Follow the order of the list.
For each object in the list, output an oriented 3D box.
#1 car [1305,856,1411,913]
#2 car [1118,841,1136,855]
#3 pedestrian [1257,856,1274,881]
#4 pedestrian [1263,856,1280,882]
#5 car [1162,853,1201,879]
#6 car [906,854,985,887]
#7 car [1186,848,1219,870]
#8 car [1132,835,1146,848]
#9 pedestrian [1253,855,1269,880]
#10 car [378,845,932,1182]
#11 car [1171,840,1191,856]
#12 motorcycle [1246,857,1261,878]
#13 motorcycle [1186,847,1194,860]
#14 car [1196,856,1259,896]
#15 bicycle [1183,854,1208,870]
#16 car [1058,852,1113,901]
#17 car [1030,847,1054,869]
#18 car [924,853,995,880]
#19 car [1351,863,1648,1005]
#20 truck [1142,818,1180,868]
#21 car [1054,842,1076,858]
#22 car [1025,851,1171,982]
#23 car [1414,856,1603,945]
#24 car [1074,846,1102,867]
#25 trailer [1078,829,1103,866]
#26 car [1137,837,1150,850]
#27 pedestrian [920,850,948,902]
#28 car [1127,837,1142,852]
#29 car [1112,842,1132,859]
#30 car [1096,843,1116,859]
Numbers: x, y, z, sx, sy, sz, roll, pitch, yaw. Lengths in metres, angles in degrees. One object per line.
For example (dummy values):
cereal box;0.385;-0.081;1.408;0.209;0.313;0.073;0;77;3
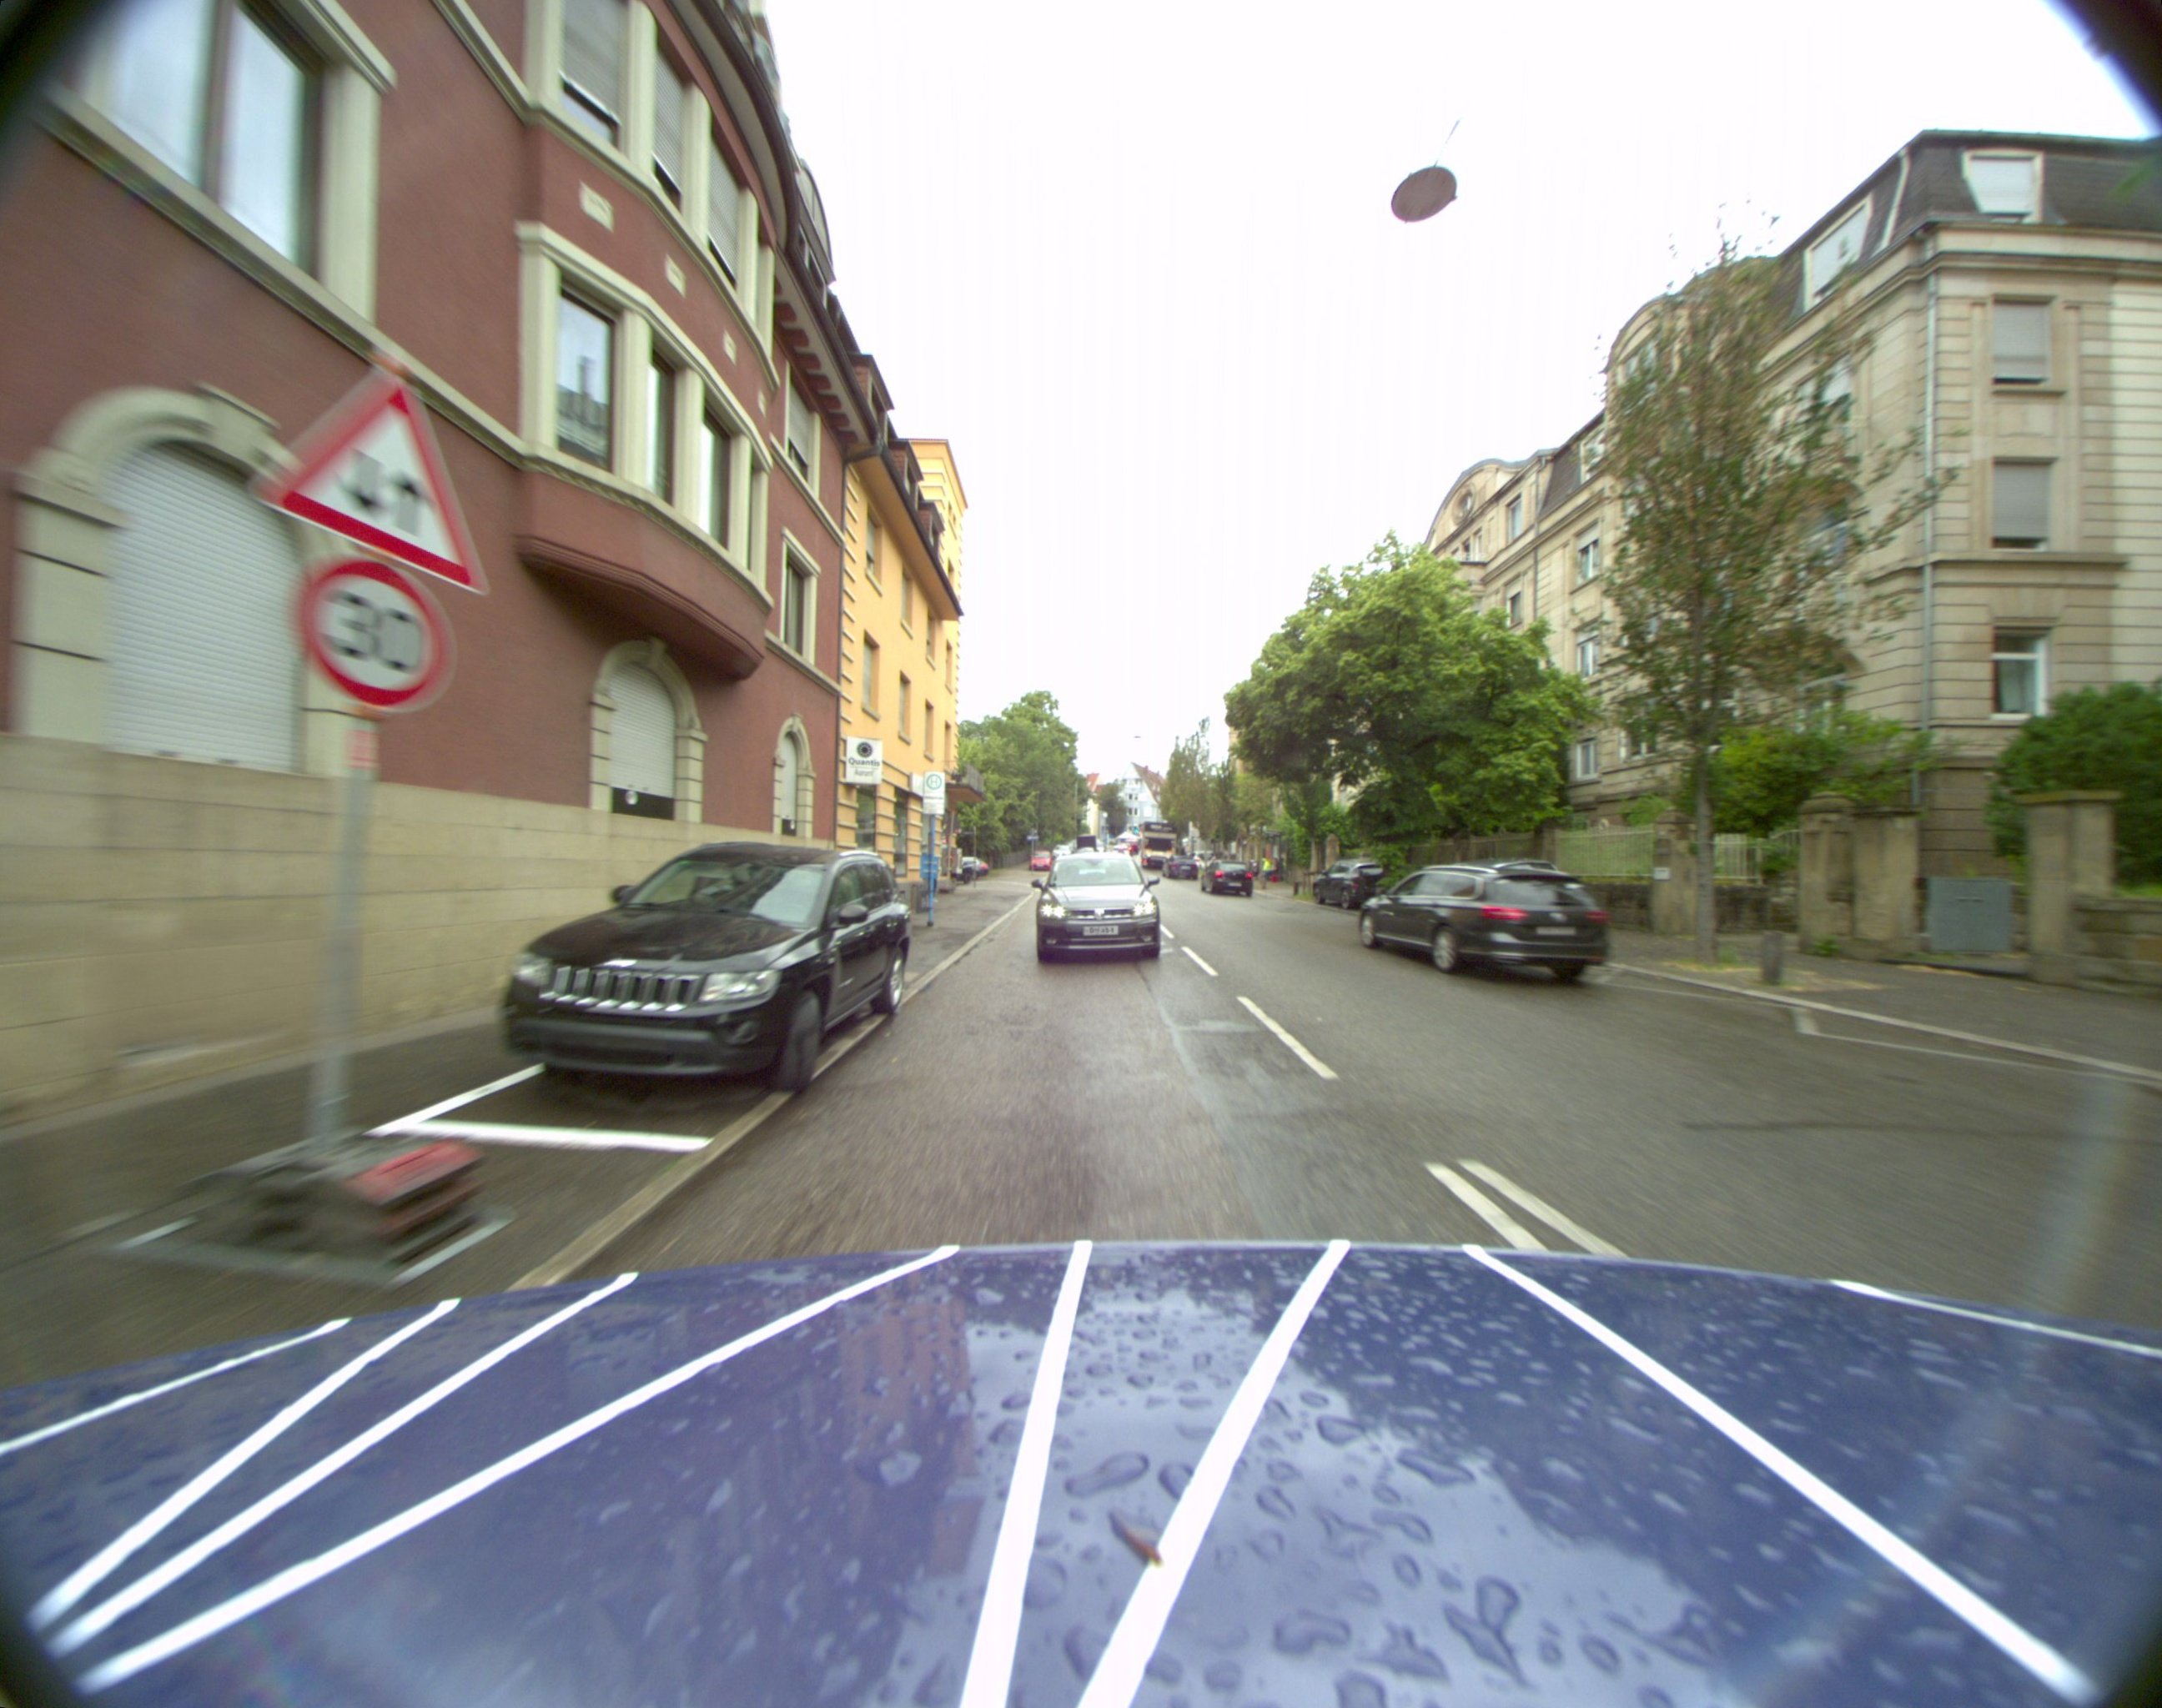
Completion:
car;9.011;0.939;25.105;1.746;1.550;4.300;-2;1;-3
car;5.074;-0.699;83.888;1.715;1.471;4.115;3;1;6
pedestrian;10.816;0.827;44.559;0.768;1.424;0.649;1;2;3
pedestrian;10.989;0.859;43.813;0.768;1.424;0.649;1;2;3
car;6.379;0.720;48.563;1.776;1.459;4.747;3;0;0
car;-7.337;0.859;41.476;1.850;1.461;4.116;-1;3;33
car;9.501;0.338;59.546;1.746;1.550;4.300;-1;1;-2
car;7.862;-1.716;102.679;1.655;1.698;4.114;3;3;6
pedestrian;10.765;0.798;45.360;0.768;1.424;0.759;1;2;3
car;-2.725;0.821;6.362;1.881;1.620;4.696;4;1;1
car;11.127;-0.722;84.934;2.000;1.587;3.828;-2;2;5
motorcycle;11.219;0.866;49.544;0.657;1.230;1.763;1;2;4
motorcycle;10.311;-0.077;71.887;0.657;1.228;1.982;1;2;4
car;6.306;0.906;33.193;1.776;1.509;4.590;-2;0;0
bicycle;9.422;0.651;62.459;1.980;1.228;0.657;1;2;0
car;0.217;0.783;29.189;1.925;1.641;4.485;-1;1;1
car;-2.976;0.294;58.529;1.613;1.493;3.957;2;1;0
car;-7.697;0.818;48.525;4.280;1.489;2.002;-3;0;-5
car;5.683;0.956;11.124;1.820;1.509;4.547;1;1;0
truck;6.731;-0.910;64.770;2.653;3.833;9.308;3;1;4
car;-1.596;-0.405;77.414;1.745;1.455;4.883;4;2;3
car;0.230;0.794;12.332;1.860;1.641;5.194;0;1;0
car;9.057;0.894;16.567;1.746;1.550;4.301;-1;1;1
car;0.621;0.154;62.946;1.924;1.641;4.135;-1;1;5
trailer;0.824;-0.567;65.388;1.966;3.024;2.365;-1;1;5
car;9.141;-1.548;110.227;1.655;1.698;4.114;3;3;6
pedestrian;-4.604;0.667;23.792;0.769;1.581;0.711;1;2;-19
car;6.513;-1.147;92.363;1.655;1.698;4.114;3;3;6
car;3.899;-0.317;71.361;1.776;1.509;4.099;1;1;3
car;2.818;-0.344;84.363;1.924;1.641;4.135;-1;1;6
